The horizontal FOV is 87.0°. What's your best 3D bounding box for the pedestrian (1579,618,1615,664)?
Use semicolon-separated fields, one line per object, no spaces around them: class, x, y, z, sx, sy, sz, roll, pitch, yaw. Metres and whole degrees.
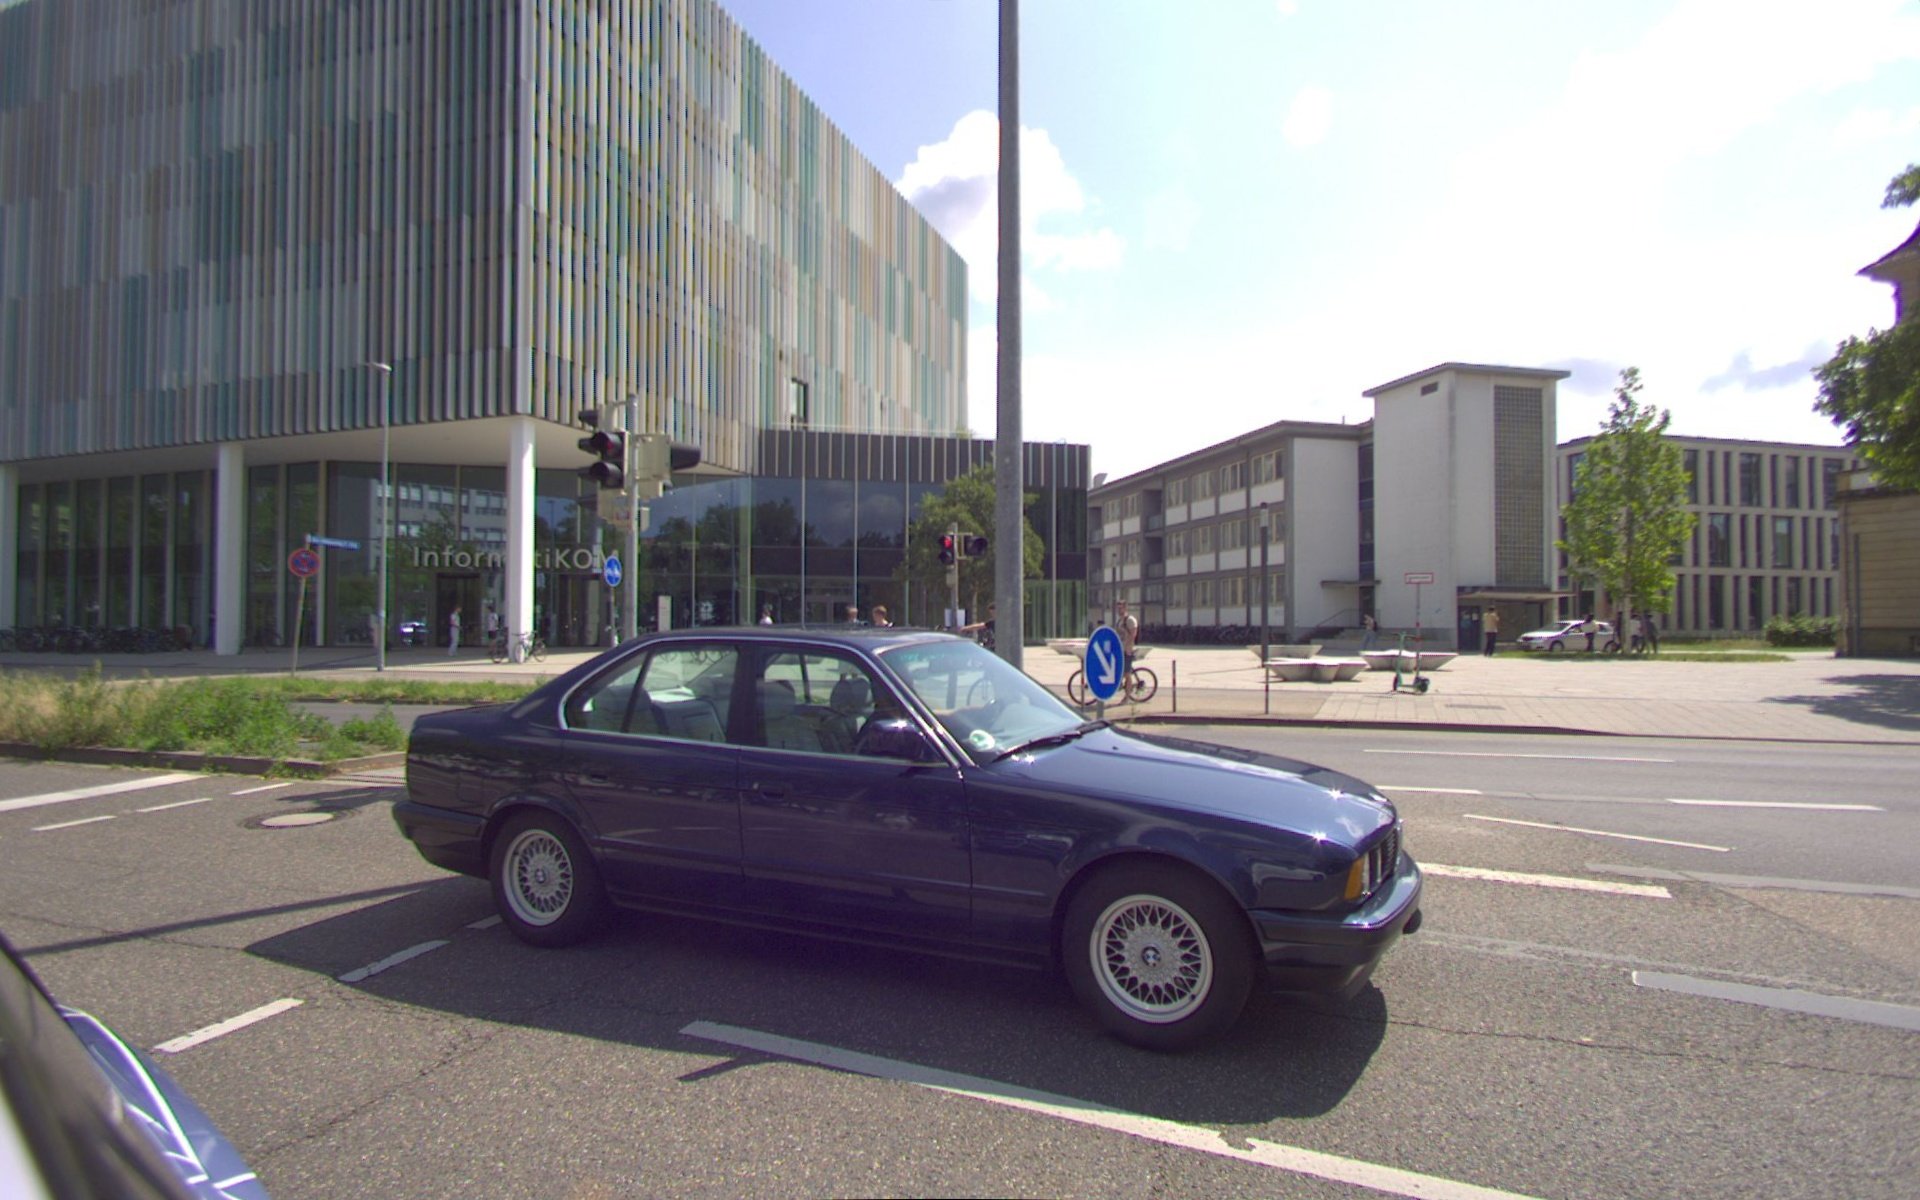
pedestrian;25.300;1.637;40.216;0.830;1.803;0.816;0;-2;-10

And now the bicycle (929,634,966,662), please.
bicycle;-0.463;1.776;37.508;0.520;0.962;1.778;1;-1;-32

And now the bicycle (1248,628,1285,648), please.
bicycle;15.431;1.923;50.962;1.746;0.962;0.530;0;0;-6

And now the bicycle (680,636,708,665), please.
bicycle;-9.255;1.740;35.241;0.521;0.962;1.773;0;-1;0

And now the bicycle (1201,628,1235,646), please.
bicycle;14.216;2.059;55.757;1.745;0.962;0.530;0;0;-8

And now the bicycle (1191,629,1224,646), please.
bicycle;13.898;2.097;56.816;1.745;0.962;0.530;0;0;-8

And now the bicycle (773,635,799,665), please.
bicycle;-6.167;1.759;35.802;0.520;0.962;1.779;0;-1;-23

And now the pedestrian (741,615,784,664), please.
pedestrian;-6.890;1.378;35.293;1.007;1.663;1.175;-1;-2;20

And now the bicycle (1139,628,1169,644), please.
bicycle;11.998;2.242;62.530;1.745;0.962;0.530;0;0;-8

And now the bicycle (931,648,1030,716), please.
bicycle;0.343;1.432;17.828;1.645;1.133;0.696;0;-2;-8

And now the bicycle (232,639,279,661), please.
bicycle;-27.275;1.925;39.188;0.371;0.782;1.534;-1;0;23

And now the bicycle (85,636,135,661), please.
bicycle;-34.651;1.966;41.276;0.372;0.962;1.528;-1;0;34

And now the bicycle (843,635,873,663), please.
bicycle;-3.754;1.774;37.062;0.520;0.962;1.779;0;-1;-26

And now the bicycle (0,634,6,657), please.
bicycle;-41.320;1.957;42.763;0.369;0.962;1.542;-1;0;8

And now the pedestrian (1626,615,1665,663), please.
pedestrian;26.102;1.486;38.554;0.830;1.803;0.867;0;-2;-10

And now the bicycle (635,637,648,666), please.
bicycle;-11.006;1.766;34.942;0.367;0.962;1.779;0;-1;-19

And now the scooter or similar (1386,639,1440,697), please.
scooter or similar;8.859;1.315;19.839;0.396;1.075;1.153;0;-2;-8

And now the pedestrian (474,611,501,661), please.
pedestrian;-17.828;1.335;38.199;0.675;1.856;0.685;-1;-1;27

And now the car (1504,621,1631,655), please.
car;25.850;1.594;43.112;4.420;1.316;2.005;-1;0;-12

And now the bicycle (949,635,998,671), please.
bicycle;0.377;1.510;29.136;0.520;0.962;1.778;1;-1;-32

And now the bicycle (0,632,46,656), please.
bicycle;-40.234;1.884;43.399;0.372;0.962;1.528;-1;0;34

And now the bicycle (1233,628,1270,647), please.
bicycle;15.046;1.923;52.230;1.745;0.962;0.530;0;0;-8

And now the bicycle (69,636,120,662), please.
bicycle;-35.257;1.983;41.238;0.372;0.962;1.528;-1;0;34

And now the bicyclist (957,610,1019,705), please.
bicyclist;0.484;1.000;17.886;0.983;1.628;0.658;0;-2;-9

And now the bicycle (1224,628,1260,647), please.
bicycle;14.837;1.971;53.200;1.745;0.962;0.530;0;0;-8

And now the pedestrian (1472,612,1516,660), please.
pedestrian;19.167;1.279;36.311;1.295;1.664;1.311;-1;-2;32

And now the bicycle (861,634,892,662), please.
bicycle;-3.097;1.771;37.324;0.520;0.962;1.779;0;-1;-26

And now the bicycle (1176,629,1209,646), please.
bicycle;13.312;2.126;57.911;1.745;0.962;0.530;0;0;-8

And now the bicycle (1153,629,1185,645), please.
bicycle;12.463;2.218;60.377;1.745;0.962;0.530;0;0;-8

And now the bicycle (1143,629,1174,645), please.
bicycle;12.076;2.236;61.637;1.745;0.962;0.530;0;0;-8

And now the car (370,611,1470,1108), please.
car;-0.332;0.778;4.584;4.585;1.397;1.684;-1;0;24

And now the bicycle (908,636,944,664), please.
bicycle;-1.272;1.832;37.459;0.520;0.962;1.778;1;-1;-32

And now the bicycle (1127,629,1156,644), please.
bicycle;11.585;2.325;64.686;1.745;0.962;0.530;0;0;-8

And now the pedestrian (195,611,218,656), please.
pedestrian;-31.694;1.413;42.570;0.549;1.856;0.560;0;-1;12

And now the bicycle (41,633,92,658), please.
bicycle;-36.975;1.879;41.900;0.372;0.962;1.528;-1;0;34

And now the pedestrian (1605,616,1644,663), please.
pedestrian;25.902;1.523;39.455;0.830;1.803;0.894;0;-2;-10

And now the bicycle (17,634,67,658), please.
bicycle;-39.050;1.954;43.051;0.372;0.962;1.528;-1;0;34

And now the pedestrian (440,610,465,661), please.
pedestrian;-18.792;1.311;37.464;0.776;1.856;0.518;0;-1;-36

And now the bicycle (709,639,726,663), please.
bicycle;-8.455;1.769;35.320;0.520;0.770;1.778;0;-1;-12

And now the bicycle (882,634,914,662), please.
bicycle;-2.279;1.752;37.206;0.520;0.962;1.779;0;-1;-26

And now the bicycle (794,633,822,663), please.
bicycle;-5.444;1.715;36.232;0.520;0.962;1.779;-3;1;-23

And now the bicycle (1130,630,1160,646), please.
bicycle;11.700;2.400;64.037;1.745;0.962;0.530;0;0;-8

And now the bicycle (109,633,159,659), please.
bicycle;-33.488;1.848;41.031;0.372;0.962;1.528;-1;0;34

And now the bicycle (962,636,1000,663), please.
bicycle;0.787;1.839;37.907;0.520;0.962;1.778;1;-1;-32

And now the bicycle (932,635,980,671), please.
bicycle;-0.135;1.490;28.850;0.520;0.962;1.778;1;-1;-32

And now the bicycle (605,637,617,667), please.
bicycle;-11.909;1.751;34.527;0.367;0.962;1.551;0;-1;-19

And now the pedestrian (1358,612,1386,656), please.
pedestrian;17.140;1.422;42.122;0.830;1.803;0.679;0;-2;-10

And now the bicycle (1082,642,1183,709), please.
bicycle;3.075;1.338;18.134;1.646;1.133;0.696;0;-1;-5

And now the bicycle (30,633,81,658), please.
bicycle;-37.713;1.880;42.202;0.372;0.962;1.528;-1;0;34

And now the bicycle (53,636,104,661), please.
bicycle;-35.968;1.965;41.320;0.372;0.962;1.528;-1;0;34

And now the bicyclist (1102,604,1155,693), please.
bicyclist;3.012;0.859;18.140;0.774;1.550;0.658;0;-2;-5

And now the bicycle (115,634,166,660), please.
bicycle;-32.918;1.881;40.664;0.372;0.962;1.528;-1;0;34

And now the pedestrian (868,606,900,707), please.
pedestrian;-1.402;1.033;18.734;0.567;1.856;0.416;0;-1;-3

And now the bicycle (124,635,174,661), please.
bicycle;-32.376;1.902;40.426;0.372;0.962;1.528;-1;0;34

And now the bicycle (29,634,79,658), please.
bicycle;-38.121;1.920;42.585;0.372;0.962;1.528;-1;0;34

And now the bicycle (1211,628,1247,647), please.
bicycle;14.476;2.018;54.461;1.745;0.962;0.530;0;0;-8

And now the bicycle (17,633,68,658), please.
bicycle;-38.747;1.923;42.750;0.372;0.962;1.528;-1;0;34

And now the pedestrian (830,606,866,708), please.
pedestrian;-2.056;1.037;18.664;0.624;1.856;0.480;0;-1;-2

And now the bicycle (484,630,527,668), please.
bicycle;-15.058;1.615;33.564;0.370;1.196;1.537;0;0;18

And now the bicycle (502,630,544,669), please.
bicycle;-14.455;1.626;33.506;0.370;1.196;1.537;0;0;18
